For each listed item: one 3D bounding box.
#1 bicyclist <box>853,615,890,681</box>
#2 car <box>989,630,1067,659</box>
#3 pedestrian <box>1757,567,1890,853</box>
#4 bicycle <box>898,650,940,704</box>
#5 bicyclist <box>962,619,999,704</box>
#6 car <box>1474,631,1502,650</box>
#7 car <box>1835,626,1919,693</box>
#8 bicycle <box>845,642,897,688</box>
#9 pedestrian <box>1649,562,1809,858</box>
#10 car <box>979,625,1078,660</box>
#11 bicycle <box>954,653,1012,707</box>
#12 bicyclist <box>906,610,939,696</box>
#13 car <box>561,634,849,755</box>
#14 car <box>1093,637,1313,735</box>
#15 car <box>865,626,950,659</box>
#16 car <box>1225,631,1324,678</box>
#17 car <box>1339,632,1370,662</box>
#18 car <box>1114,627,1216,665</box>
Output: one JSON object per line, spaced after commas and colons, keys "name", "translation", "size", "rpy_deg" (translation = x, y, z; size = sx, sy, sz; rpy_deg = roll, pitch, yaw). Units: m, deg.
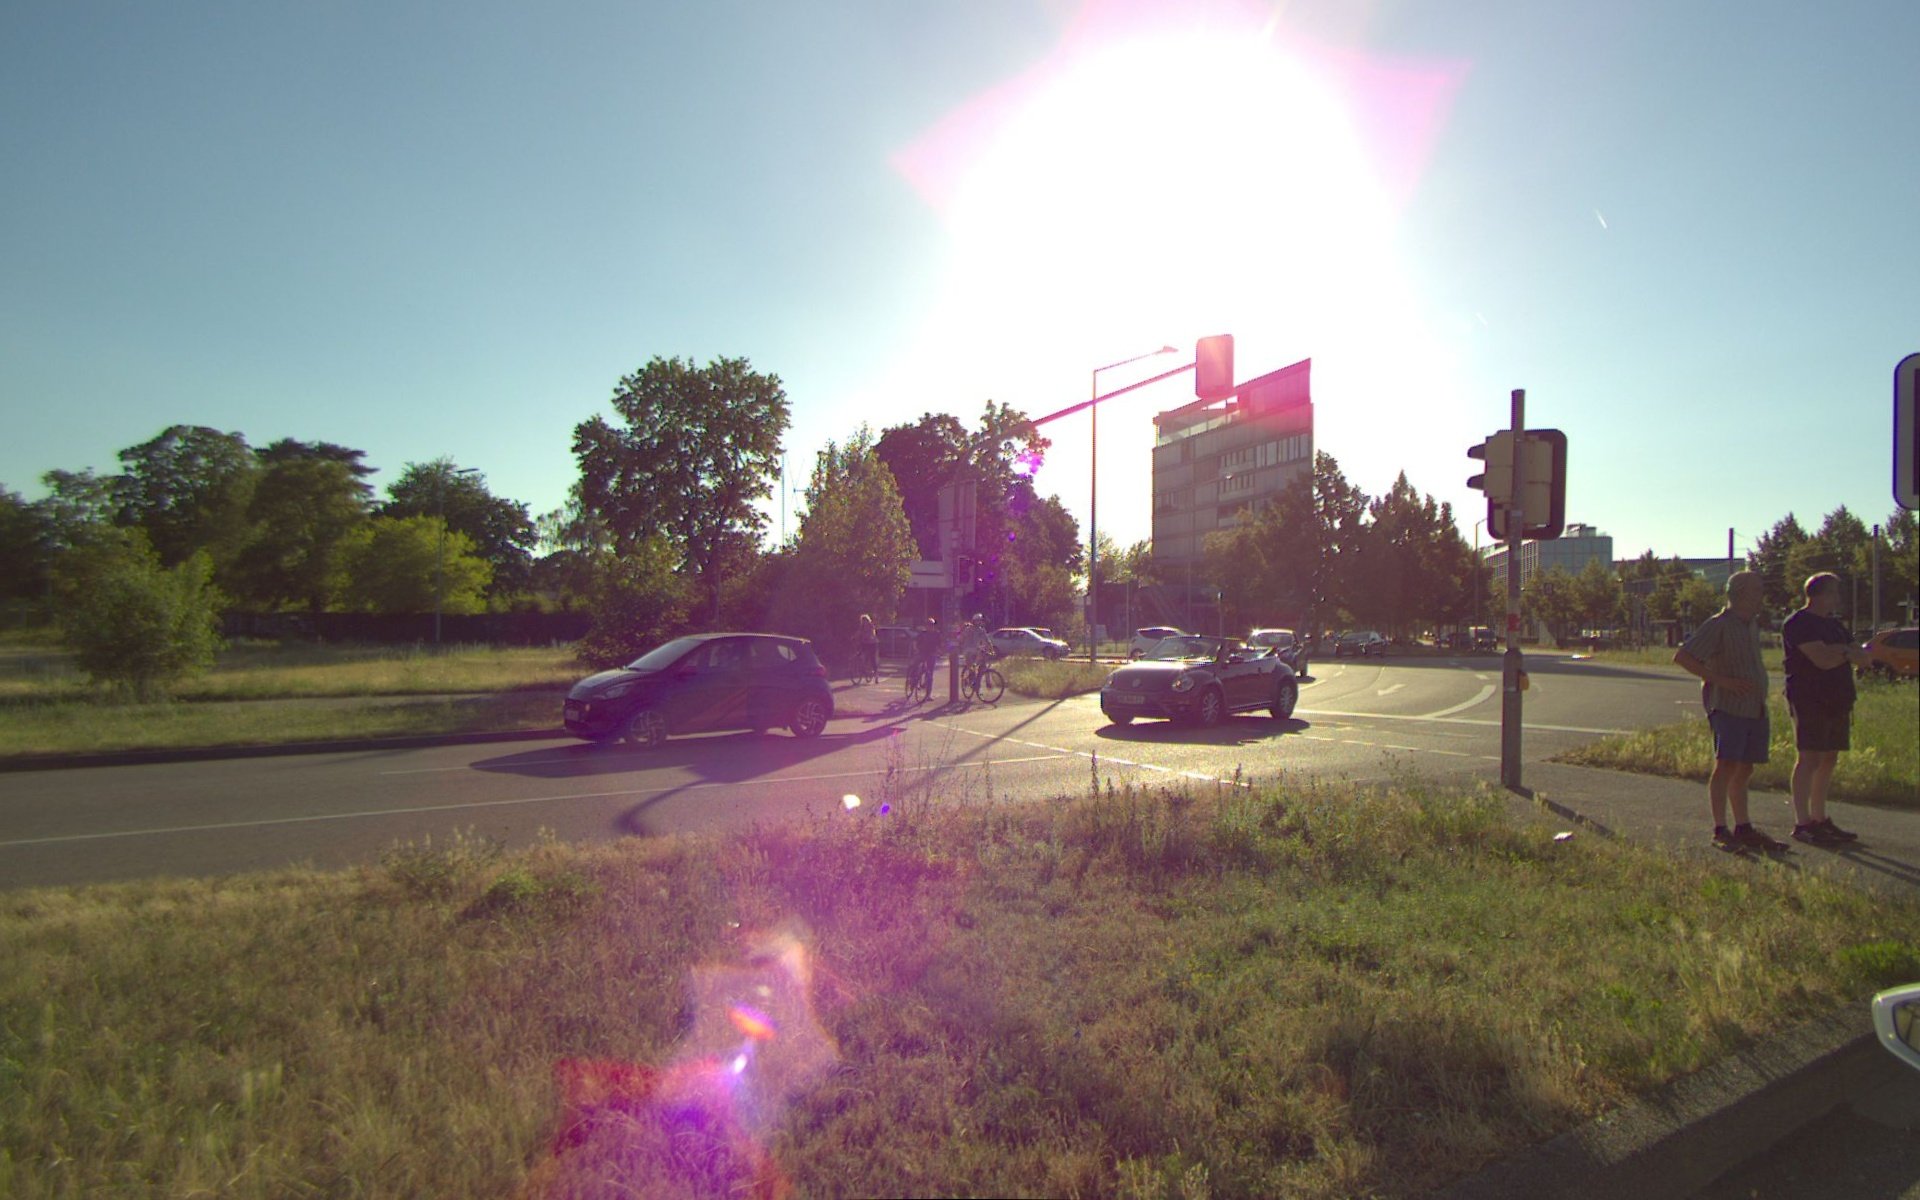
{"name": "bicyclist", "translation": [-2.303, 1.244, 26.130], "size": [0.696, 1.688, 0.831], "rpy_deg": [0, -1, 17]}
{"name": "car", "translation": [3.738, 2.420, 55.112], "size": [4.221, 1.528, 1.876], "rpy_deg": [0, -1, 5]}
{"name": "pedestrian", "translation": [5.973, 0.728, 6.953], "size": [0.663, 1.868, 0.484], "rpy_deg": [1, -1, -28]}
{"name": "bicycle", "translation": [-0.912, 1.645, 21.856], "size": [0.496, 1.033, 1.909], "rpy_deg": [1, 0, -15]}
{"name": "bicyclist", "translation": [0.442, 1.328, 22.056], "size": [0.489, 1.812, 0.811], "rpy_deg": [1, 0, -22]}
{"name": "car", "translation": [60.002, 4.589, 114.206], "size": [1.960, 2.040, 4.002], "rpy_deg": [0, -2, 15]}
{"name": "car", "translation": [21.947, 1.301, 21.775], "size": [1.880, 1.463, 4.121], "rpy_deg": [1, -2, -19]}
{"name": "bicycle", "translation": [-2.292, 1.661, 26.155], "size": [0.711, 1.133, 1.824], "rpy_deg": [0, -2, 17]}
{"name": "pedestrian", "translation": [5.077, 0.699, 6.650], "size": [0.706, 1.868, 0.486], "rpy_deg": [0, 0, -10]}
{"name": "car", "translation": [3.170, 1.928, 46.051], "size": [4.222, 1.528, 1.876], "rpy_deg": [0, -1, 17]}
{"name": "bicycle", "translation": [0.482, 1.731, 21.930], "size": [0.497, 1.033, 1.904], "rpy_deg": [1, 0, -23]}
{"name": "bicyclist", "translation": [-0.809, 1.119, 21.523], "size": [0.488, 1.794, 0.813], "rpy_deg": [1, 0, -15]}
{"name": "car", "translation": [-3.506, 1.223, 14.097], "size": [3.585, 1.460, 1.654], "rpy_deg": [1, -3, -40]}
{"name": "car", "translation": [4.108, 1.323, 16.587], "size": [1.650, 1.394, 4.123], "rpy_deg": [-2, -3, 44]}
{"name": "car", "translation": [-2.477, 2.008, 48.073], "size": [3.635, 1.528, 1.876], "rpy_deg": [0, -1, 17]}
{"name": "car", "translation": [10.005, 1.695, 31.853], "size": [1.648, 1.394, 3.760], "rpy_deg": [-2, -3, 40]}
{"name": "car", "translation": [20.682, 2.449, 52.670], "size": [1.480, 1.473, 3.462], "rpy_deg": [0, -2, 22]}
{"name": "car", "translation": [8.789, 1.943, 43.064], "size": [3.907, 1.528, 1.844], "rpy_deg": [-1, -2, 32]}
